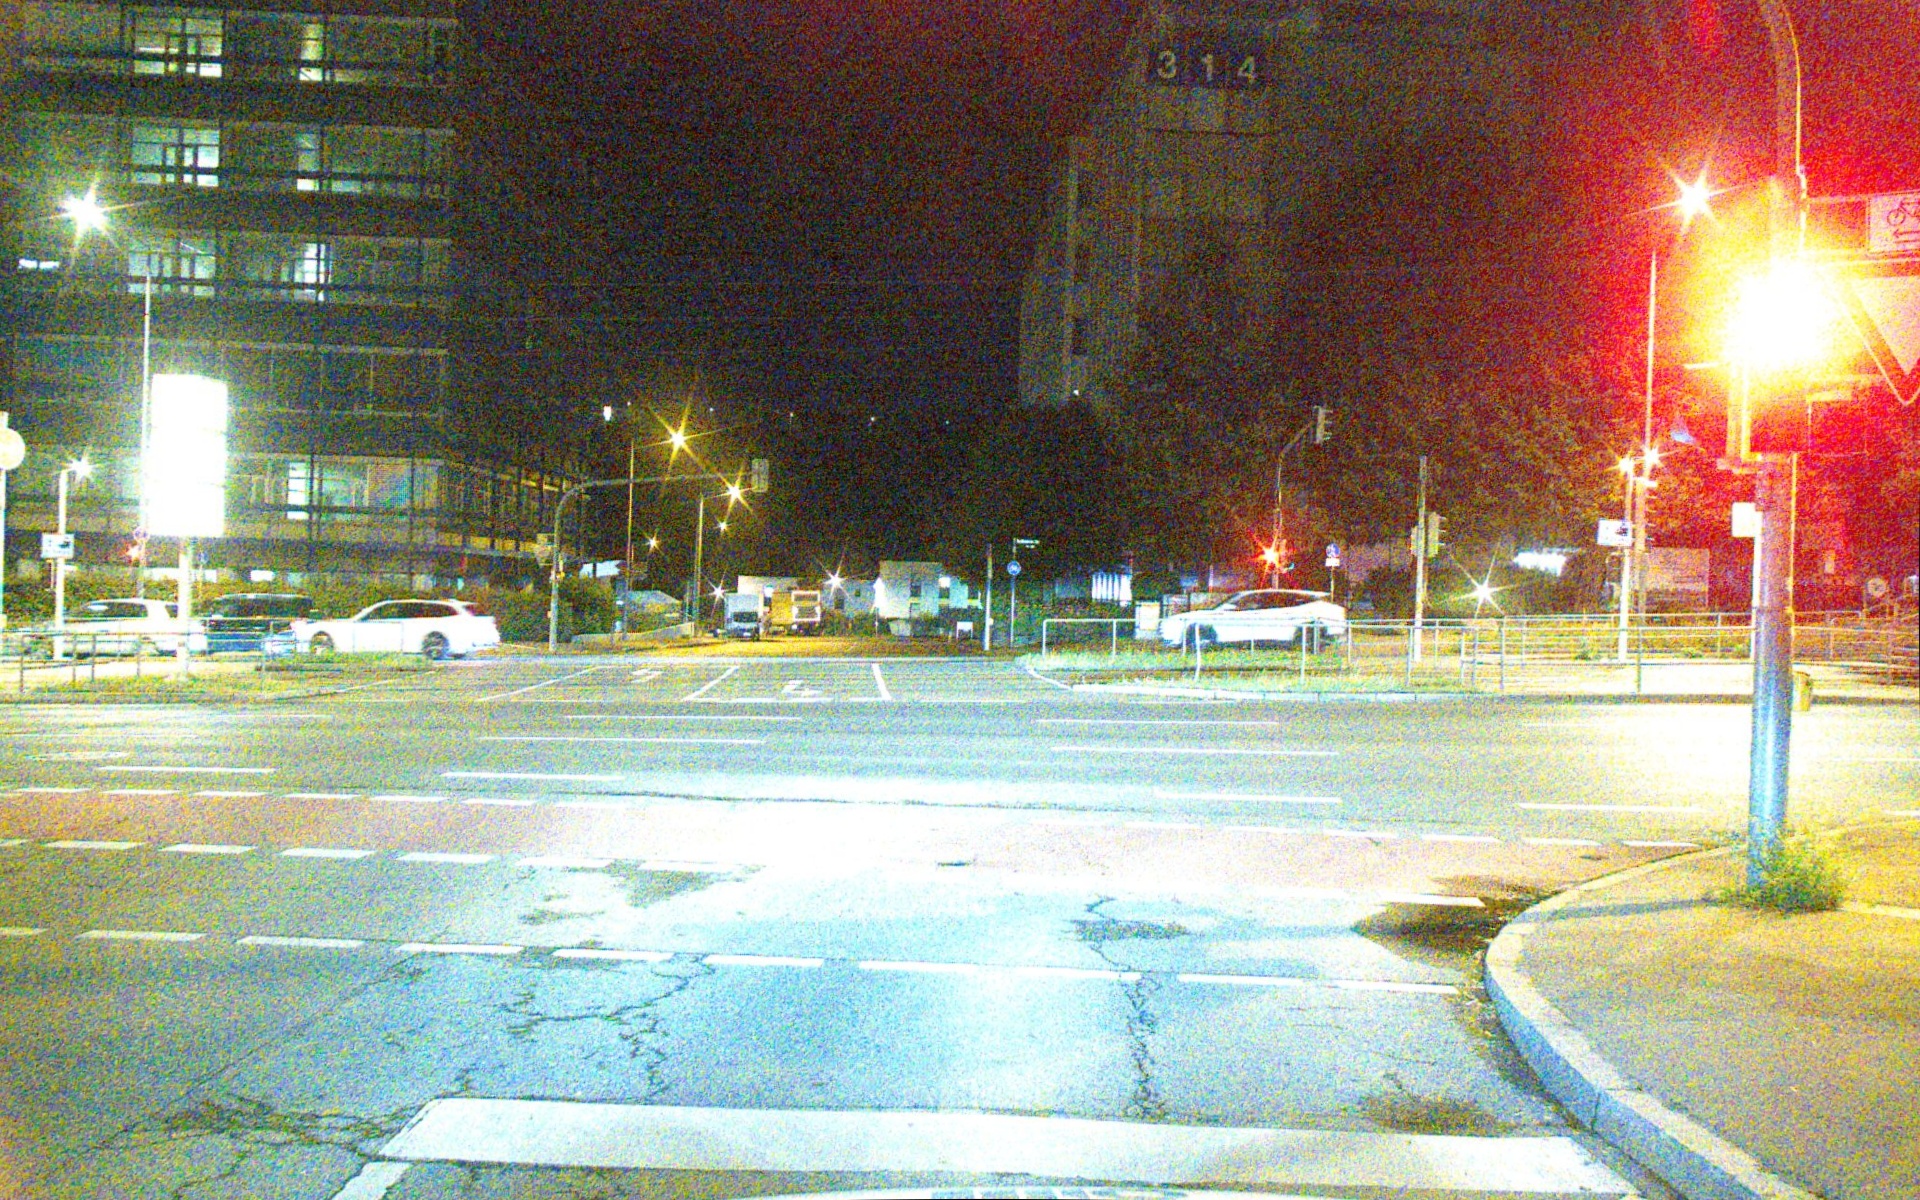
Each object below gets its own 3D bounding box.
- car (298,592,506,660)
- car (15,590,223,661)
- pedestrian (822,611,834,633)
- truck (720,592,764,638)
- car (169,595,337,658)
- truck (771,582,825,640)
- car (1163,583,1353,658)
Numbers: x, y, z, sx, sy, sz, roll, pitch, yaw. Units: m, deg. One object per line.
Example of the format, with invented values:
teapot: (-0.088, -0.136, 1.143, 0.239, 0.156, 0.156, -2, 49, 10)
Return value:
car: (-13.654, 0.616, 40.620, 4.479, 1.512, 1.779, 1, 0, 2)
car: (-19.284, 0.589, 38.033, 3.755, 1.512, 1.869, 1, -1, 2)
pedestrian: (-11.751, 1.937, 147.368, 0.836, 1.945, 1.001, 2, -1, -18)
truck: (-15.776, 1.079, 119.412, 2.377, 3.143, 6.414, 2, -1, -14)
car: (-18.943, 0.692, 44.404, 3.738, 1.660, 1.813, 0, 0, 5)
truck: (-14.621, 1.007, 148.611, 3.307, 4.927, 7.868, 2, -1, -17)
car: (7.197, 0.497, 40.245, 4.306, 1.672, 1.942, 1, -1, 2)
